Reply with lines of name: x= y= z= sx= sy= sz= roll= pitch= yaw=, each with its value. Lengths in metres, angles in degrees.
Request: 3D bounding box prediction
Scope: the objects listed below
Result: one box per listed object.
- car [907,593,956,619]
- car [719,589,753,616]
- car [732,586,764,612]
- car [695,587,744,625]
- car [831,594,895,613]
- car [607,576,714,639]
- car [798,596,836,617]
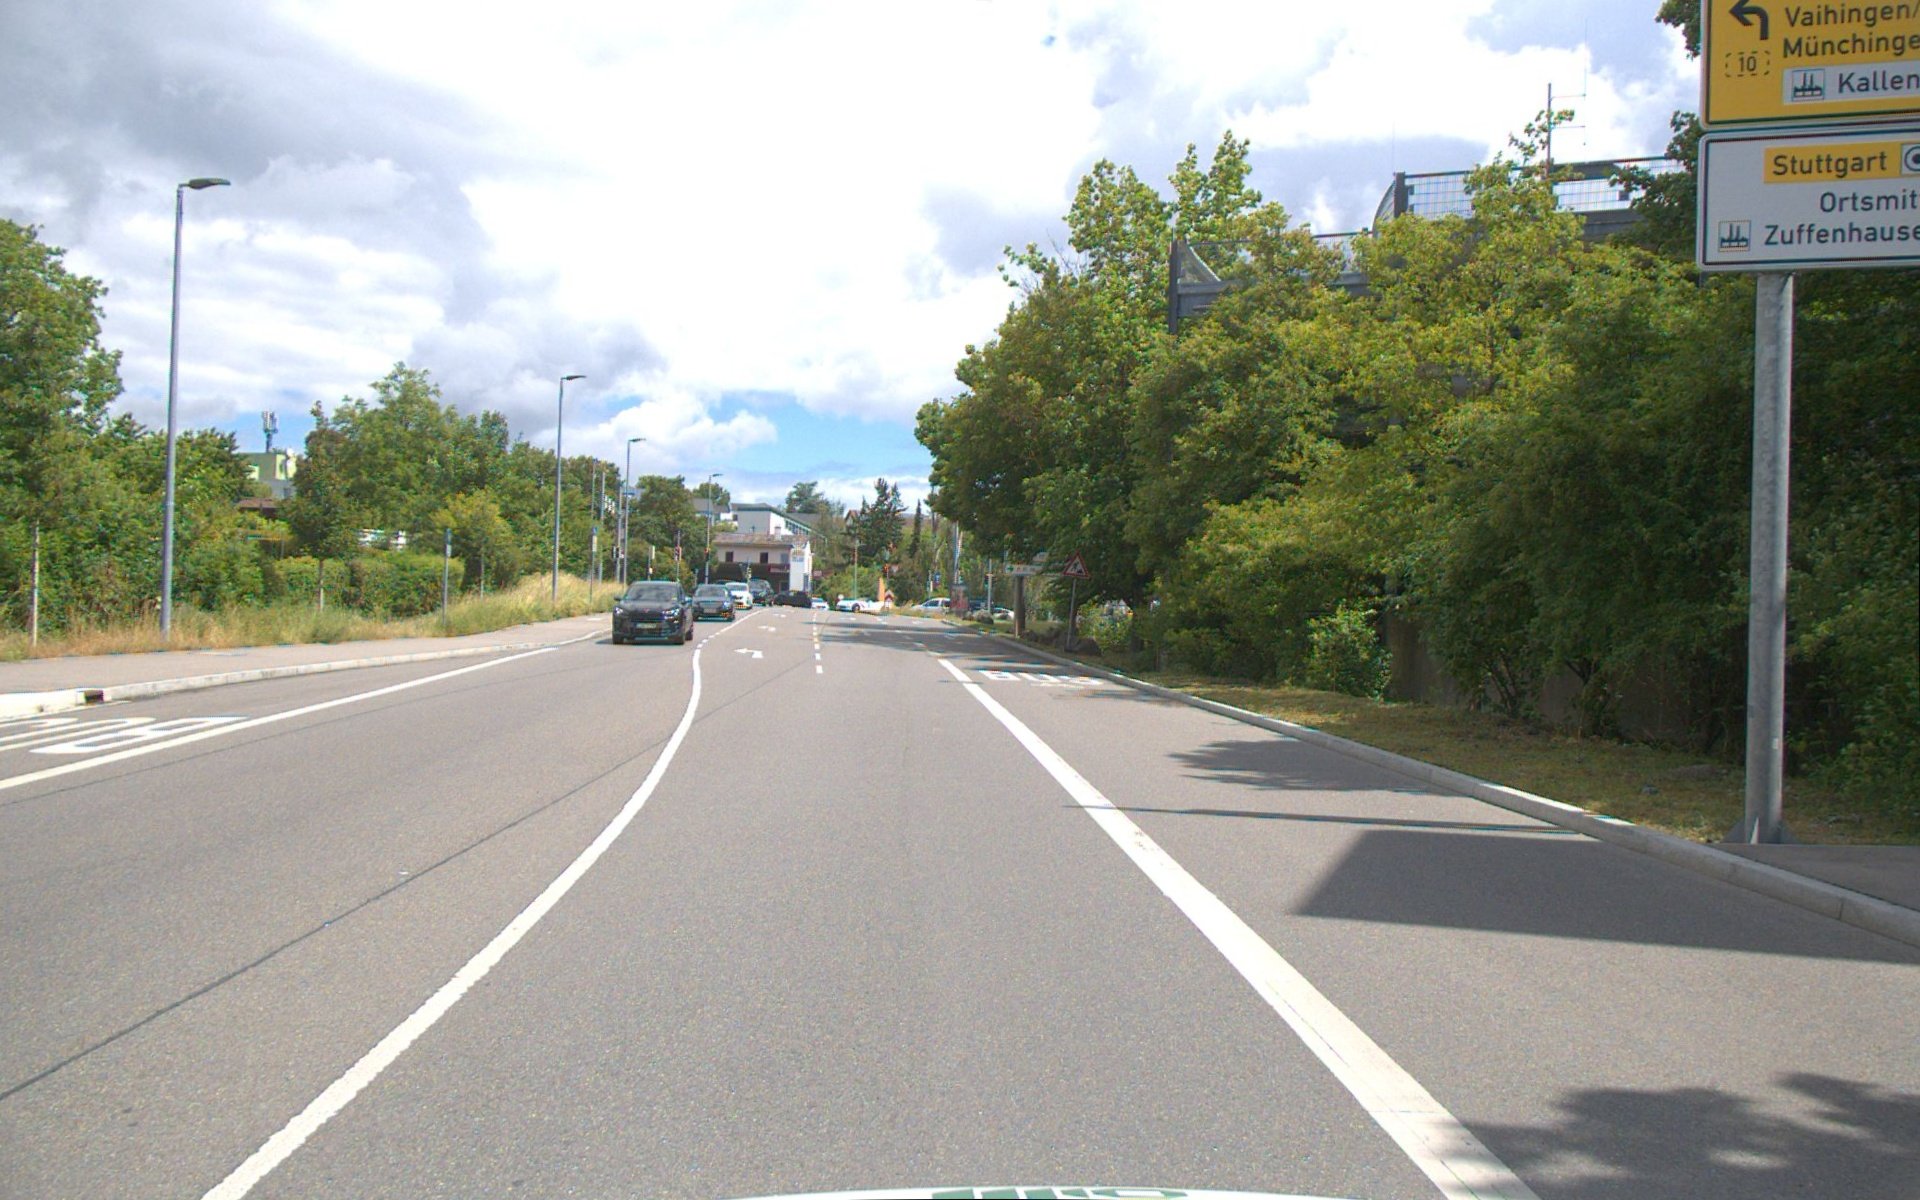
car: x=-2.312 y=0.468 z=132.809 sx=3.907 sy=2.049 sz=1.999 roll=0 pitch=-1 yaw=-3
car: x=-12.455 y=0.130 z=92.267 sx=1.732 sy=1.467 sz=3.895 roll=1 pitch=0 yaw=-6
car: x=-13.936 y=-0.070 z=108.828 sx=1.785 sy=1.683 sz=4.529 roll=1 pitch=0 yaw=-4
car: x=-9.632 y=0.242 z=66.419 sx=1.732 sy=1.467 sz=4.372 roll=1 pitch=0 yaw=-6
car: x=-7.290 y=0.285 z=124.857 sx=4.562 sy=1.314 sz=1.885 roll=1 pitch=0 yaw=-38
car: x=-7.856 y=0.160 z=43.799 sx=1.784 sy=1.584 sz=4.631 roll=0 pitch=1 yaw=3
car: x=-13.168 y=0.616 z=152.542 sx=1.884 sy=1.892 sz=3.762 roll=1 pitch=-1 yaw=-36
